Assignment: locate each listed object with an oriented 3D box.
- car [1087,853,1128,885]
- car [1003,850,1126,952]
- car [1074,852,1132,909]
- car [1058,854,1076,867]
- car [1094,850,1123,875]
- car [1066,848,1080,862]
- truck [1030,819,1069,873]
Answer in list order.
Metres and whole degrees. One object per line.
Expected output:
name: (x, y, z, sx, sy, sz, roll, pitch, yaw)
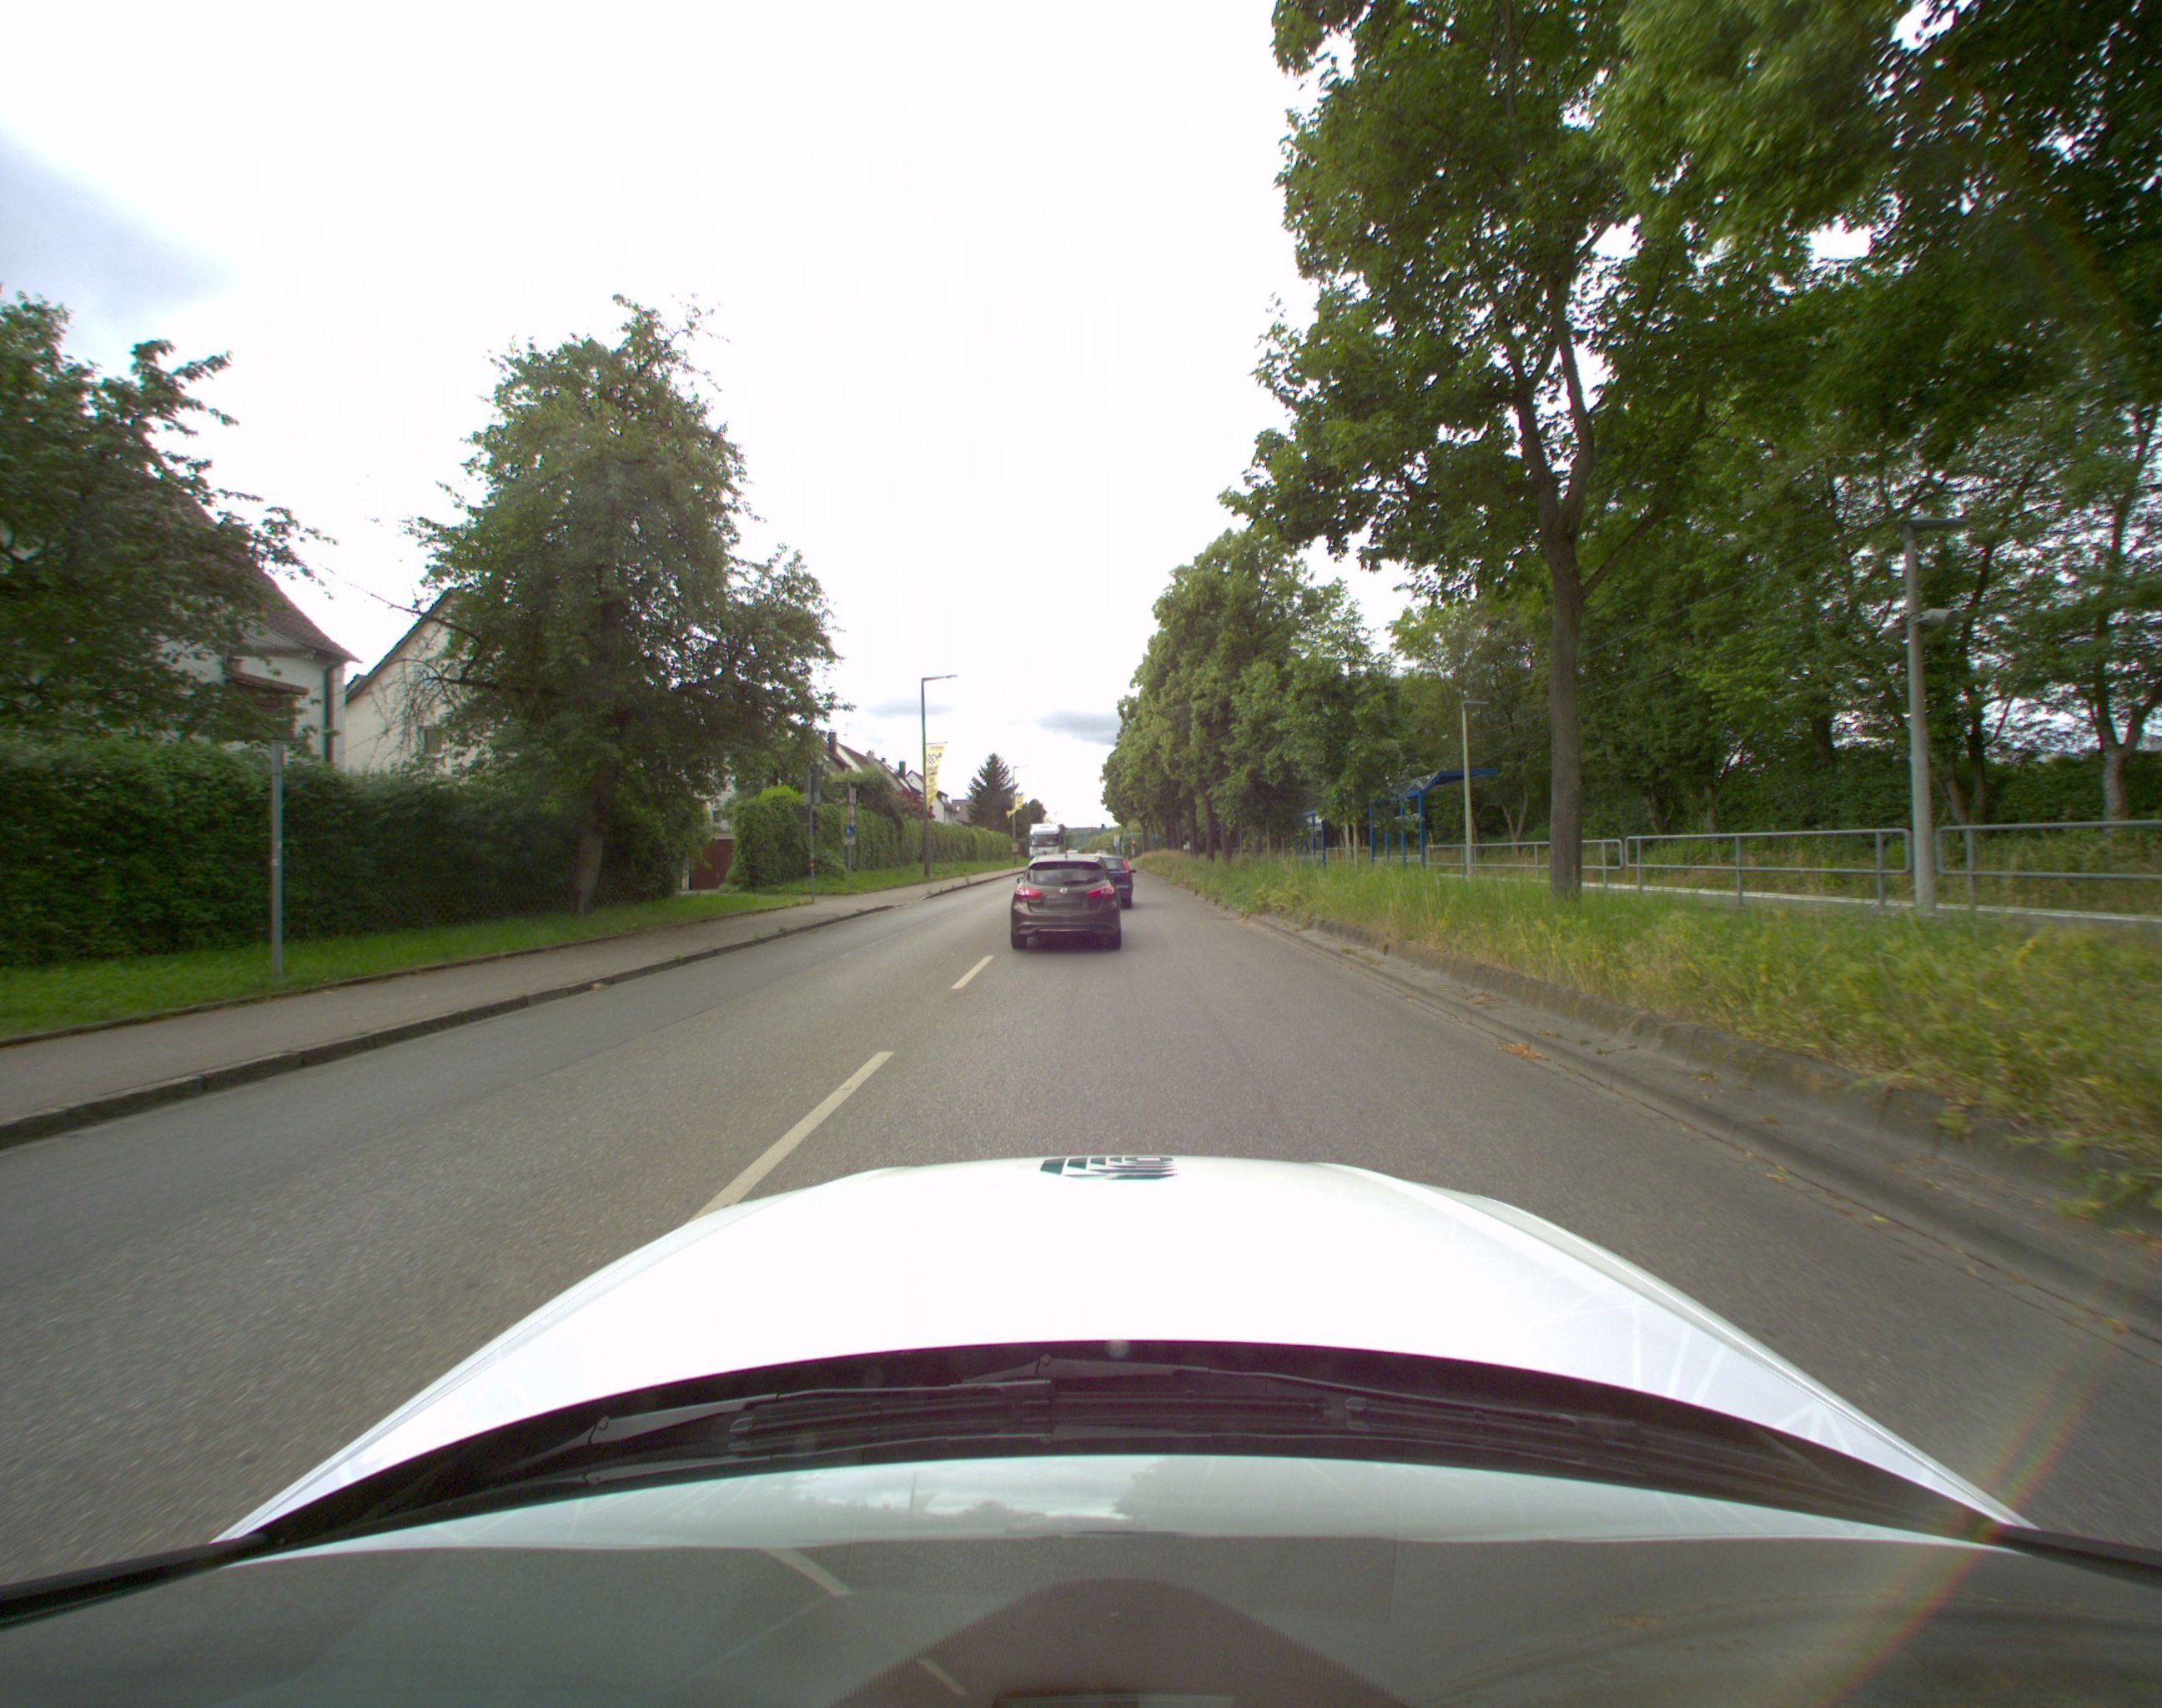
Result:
car: (1.241, 0.663, 38.083, 1.785, 1.397, 4.001, -1, 0, 2)
car: (-0.183, 0.705, 14.610, 1.828, 1.519, 4.484, -1, 0, 2)
car: (0.641, 0.703, 23.647, 1.533, 1.478, 3.765, -1, 0, 2)
car: (-1.530, 0.678, 90.743, 1.727, 1.375, 4.240, -2, 0, 1)
car: (1.804, 0.548, 53.645, 1.785, 1.538, 4.002, -1, 0, 2)
car: (-1.191, 0.116, 122.719, 1.901, 1.932, 4.910, -2, 1, -1)
truck: (-2.542, -0.581, 69.100, 2.541, 4.043, 10.620, -3, -1, 1)
